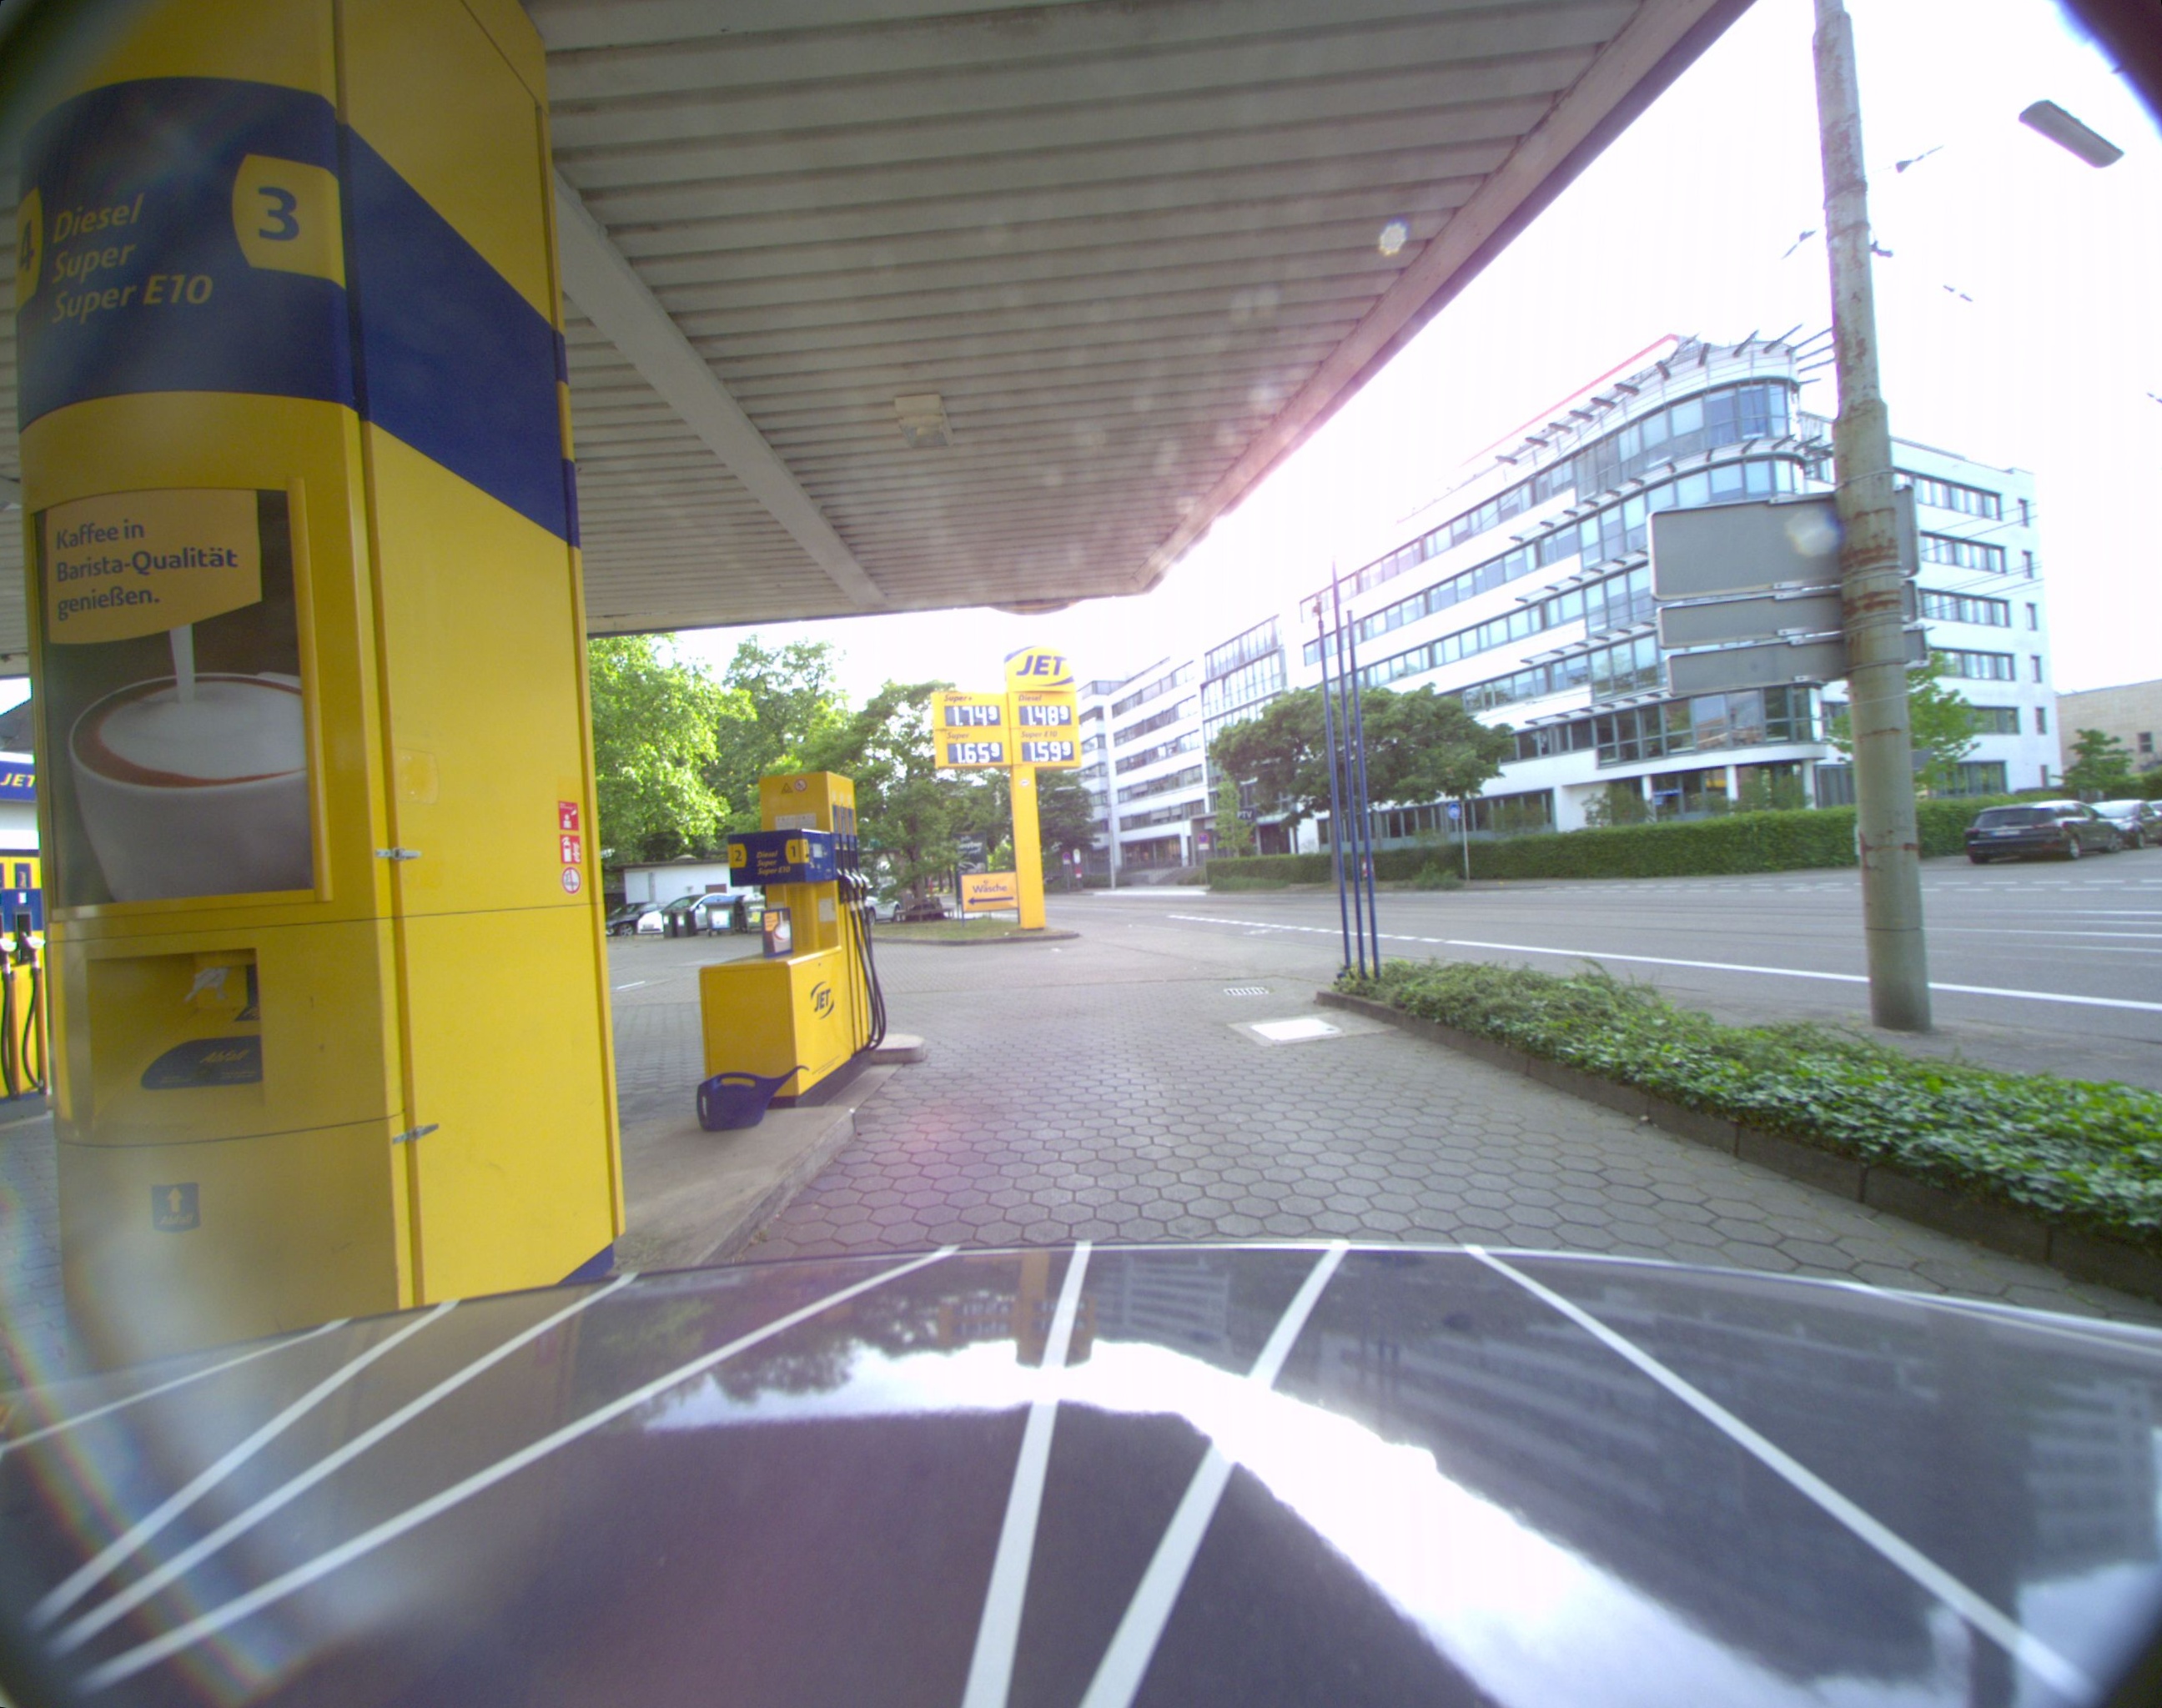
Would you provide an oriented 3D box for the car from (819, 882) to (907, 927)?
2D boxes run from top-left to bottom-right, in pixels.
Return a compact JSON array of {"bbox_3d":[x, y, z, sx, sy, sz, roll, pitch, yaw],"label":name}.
[{"bbox_3d":[-8.634,2.006,30.511,1.772,1.591,4.398,-4,-4,6],"label":"car"}]

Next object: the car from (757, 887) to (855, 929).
[{"bbox_3d":[-11.652,2.271,32.502,1.771,1.591,4.400,-4,-4,13],"label":"car"}]

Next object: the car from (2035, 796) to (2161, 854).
[{"bbox_3d":[32.547,-0.943,24.101,4.296,1.530,1.945,-4,-1,-27],"label":"car"}]

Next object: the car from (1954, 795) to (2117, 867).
[{"bbox_3d":[27.276,-0.666,21.699,4.296,1.681,2.010,-4,-1,-27],"label":"car"}]

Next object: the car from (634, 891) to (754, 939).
[{"bbox_3d":[-15.290,2.370,30.323,1.771,1.591,4.398,-2,-1,14],"label":"car"}]

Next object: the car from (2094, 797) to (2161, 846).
[{"bbox_3d":[37.130,-1.200,26.153,4.296,1.509,1.945,-4,-1,-27],"label":"car"}]

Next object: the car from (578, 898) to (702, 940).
[{"bbox_3d":[-17.792,2.596,30.917,1.771,1.367,4.398,-2,-1,14],"label":"car"}]
